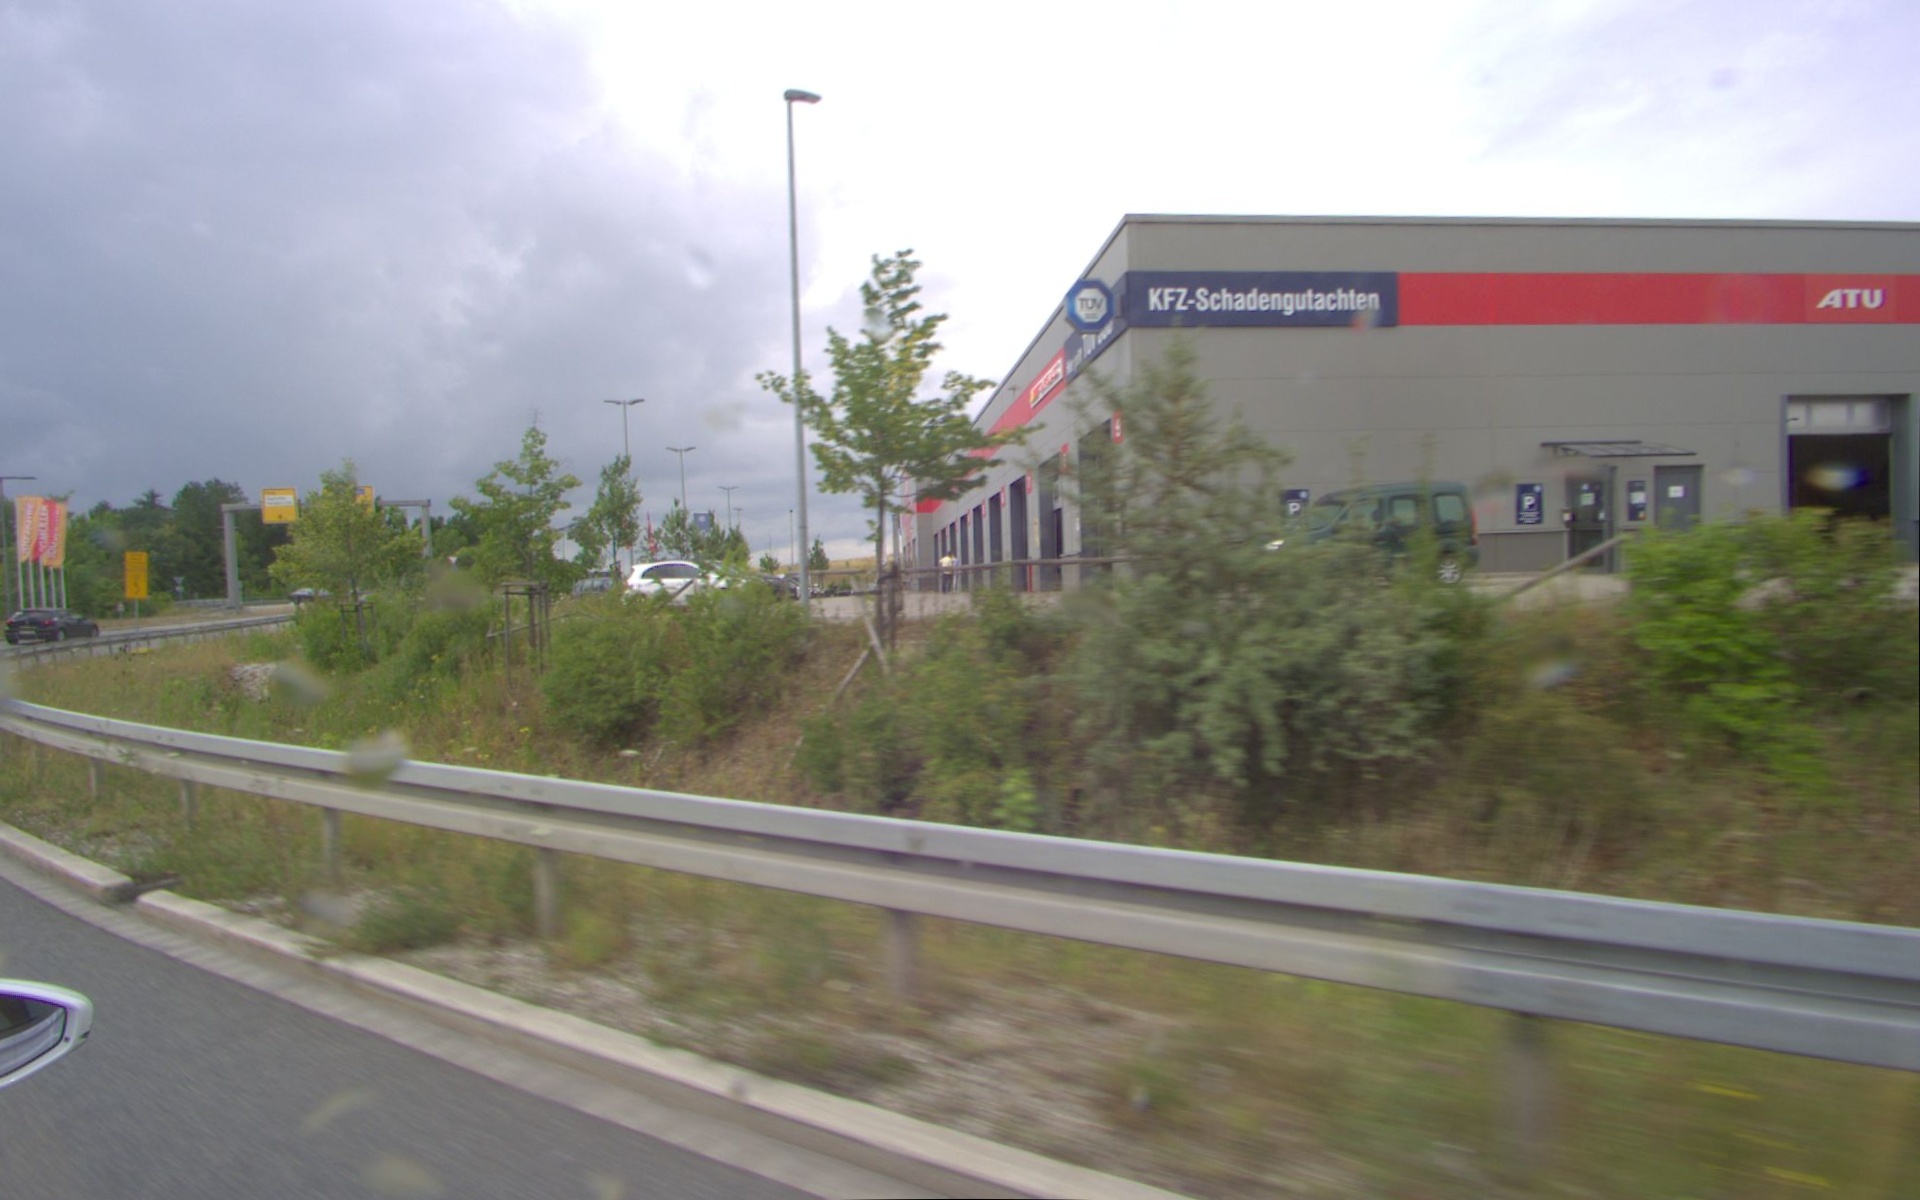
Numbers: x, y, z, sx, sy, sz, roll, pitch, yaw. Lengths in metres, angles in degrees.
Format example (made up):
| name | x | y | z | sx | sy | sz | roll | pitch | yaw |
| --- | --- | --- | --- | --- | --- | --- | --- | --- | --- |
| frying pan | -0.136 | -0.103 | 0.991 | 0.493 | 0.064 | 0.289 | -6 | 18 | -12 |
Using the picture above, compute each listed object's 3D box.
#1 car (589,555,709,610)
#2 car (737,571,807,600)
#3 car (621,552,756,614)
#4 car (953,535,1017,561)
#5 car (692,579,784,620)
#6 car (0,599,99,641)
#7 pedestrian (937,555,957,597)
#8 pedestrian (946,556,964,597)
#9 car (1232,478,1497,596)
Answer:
| name | x | y | z | sx | sy | sz | roll | pitch | yaw |
| --- | --- | --- | --- | --- | --- | --- | --- | --- | --- |
| car | -9.989 | -0.574 | 32.349 | 3.379 | 1.657 | 1.731 | -1 | 1 | -5 |
| car | -11.081 | -0.871 | 59.200 | 3.891 | 1.408 | 1.594 | -4 | 2 | -6 |
| car | -7.988 | -0.511 | 29.692 | 3.558 | 1.559 | 1.642 | -4 | 2 | -6 |
| car | 1.537 | -3.250 | 62.363 | 3.837 | 1.537 | 1.794 | -1 | 4 | -5 |
| car | -9.806 | -0.028 | 44.492 | 3.821 | 1.554 | 1.720 | -3 | 1 | -9 |
| car | -37.437 | 0.788 | 41.245 | 1.844 | 1.626 | 3.723 | -1 | 0 | -22 |
| pedestrian | -0.549 | -1.017 | 42.375 | 0.663 | 1.765 | 0.628 | -1 | 1 | 21 |
| pedestrian | -0.208 | -1.017 | 43.433 | 0.626 | 1.765 | 0.592 | -1 | 1 | 16 |
| car | 6.886 | -1.086 | 17.252 | 3.894 | 1.837 | 1.703 | -2 | 4 | -7 |
